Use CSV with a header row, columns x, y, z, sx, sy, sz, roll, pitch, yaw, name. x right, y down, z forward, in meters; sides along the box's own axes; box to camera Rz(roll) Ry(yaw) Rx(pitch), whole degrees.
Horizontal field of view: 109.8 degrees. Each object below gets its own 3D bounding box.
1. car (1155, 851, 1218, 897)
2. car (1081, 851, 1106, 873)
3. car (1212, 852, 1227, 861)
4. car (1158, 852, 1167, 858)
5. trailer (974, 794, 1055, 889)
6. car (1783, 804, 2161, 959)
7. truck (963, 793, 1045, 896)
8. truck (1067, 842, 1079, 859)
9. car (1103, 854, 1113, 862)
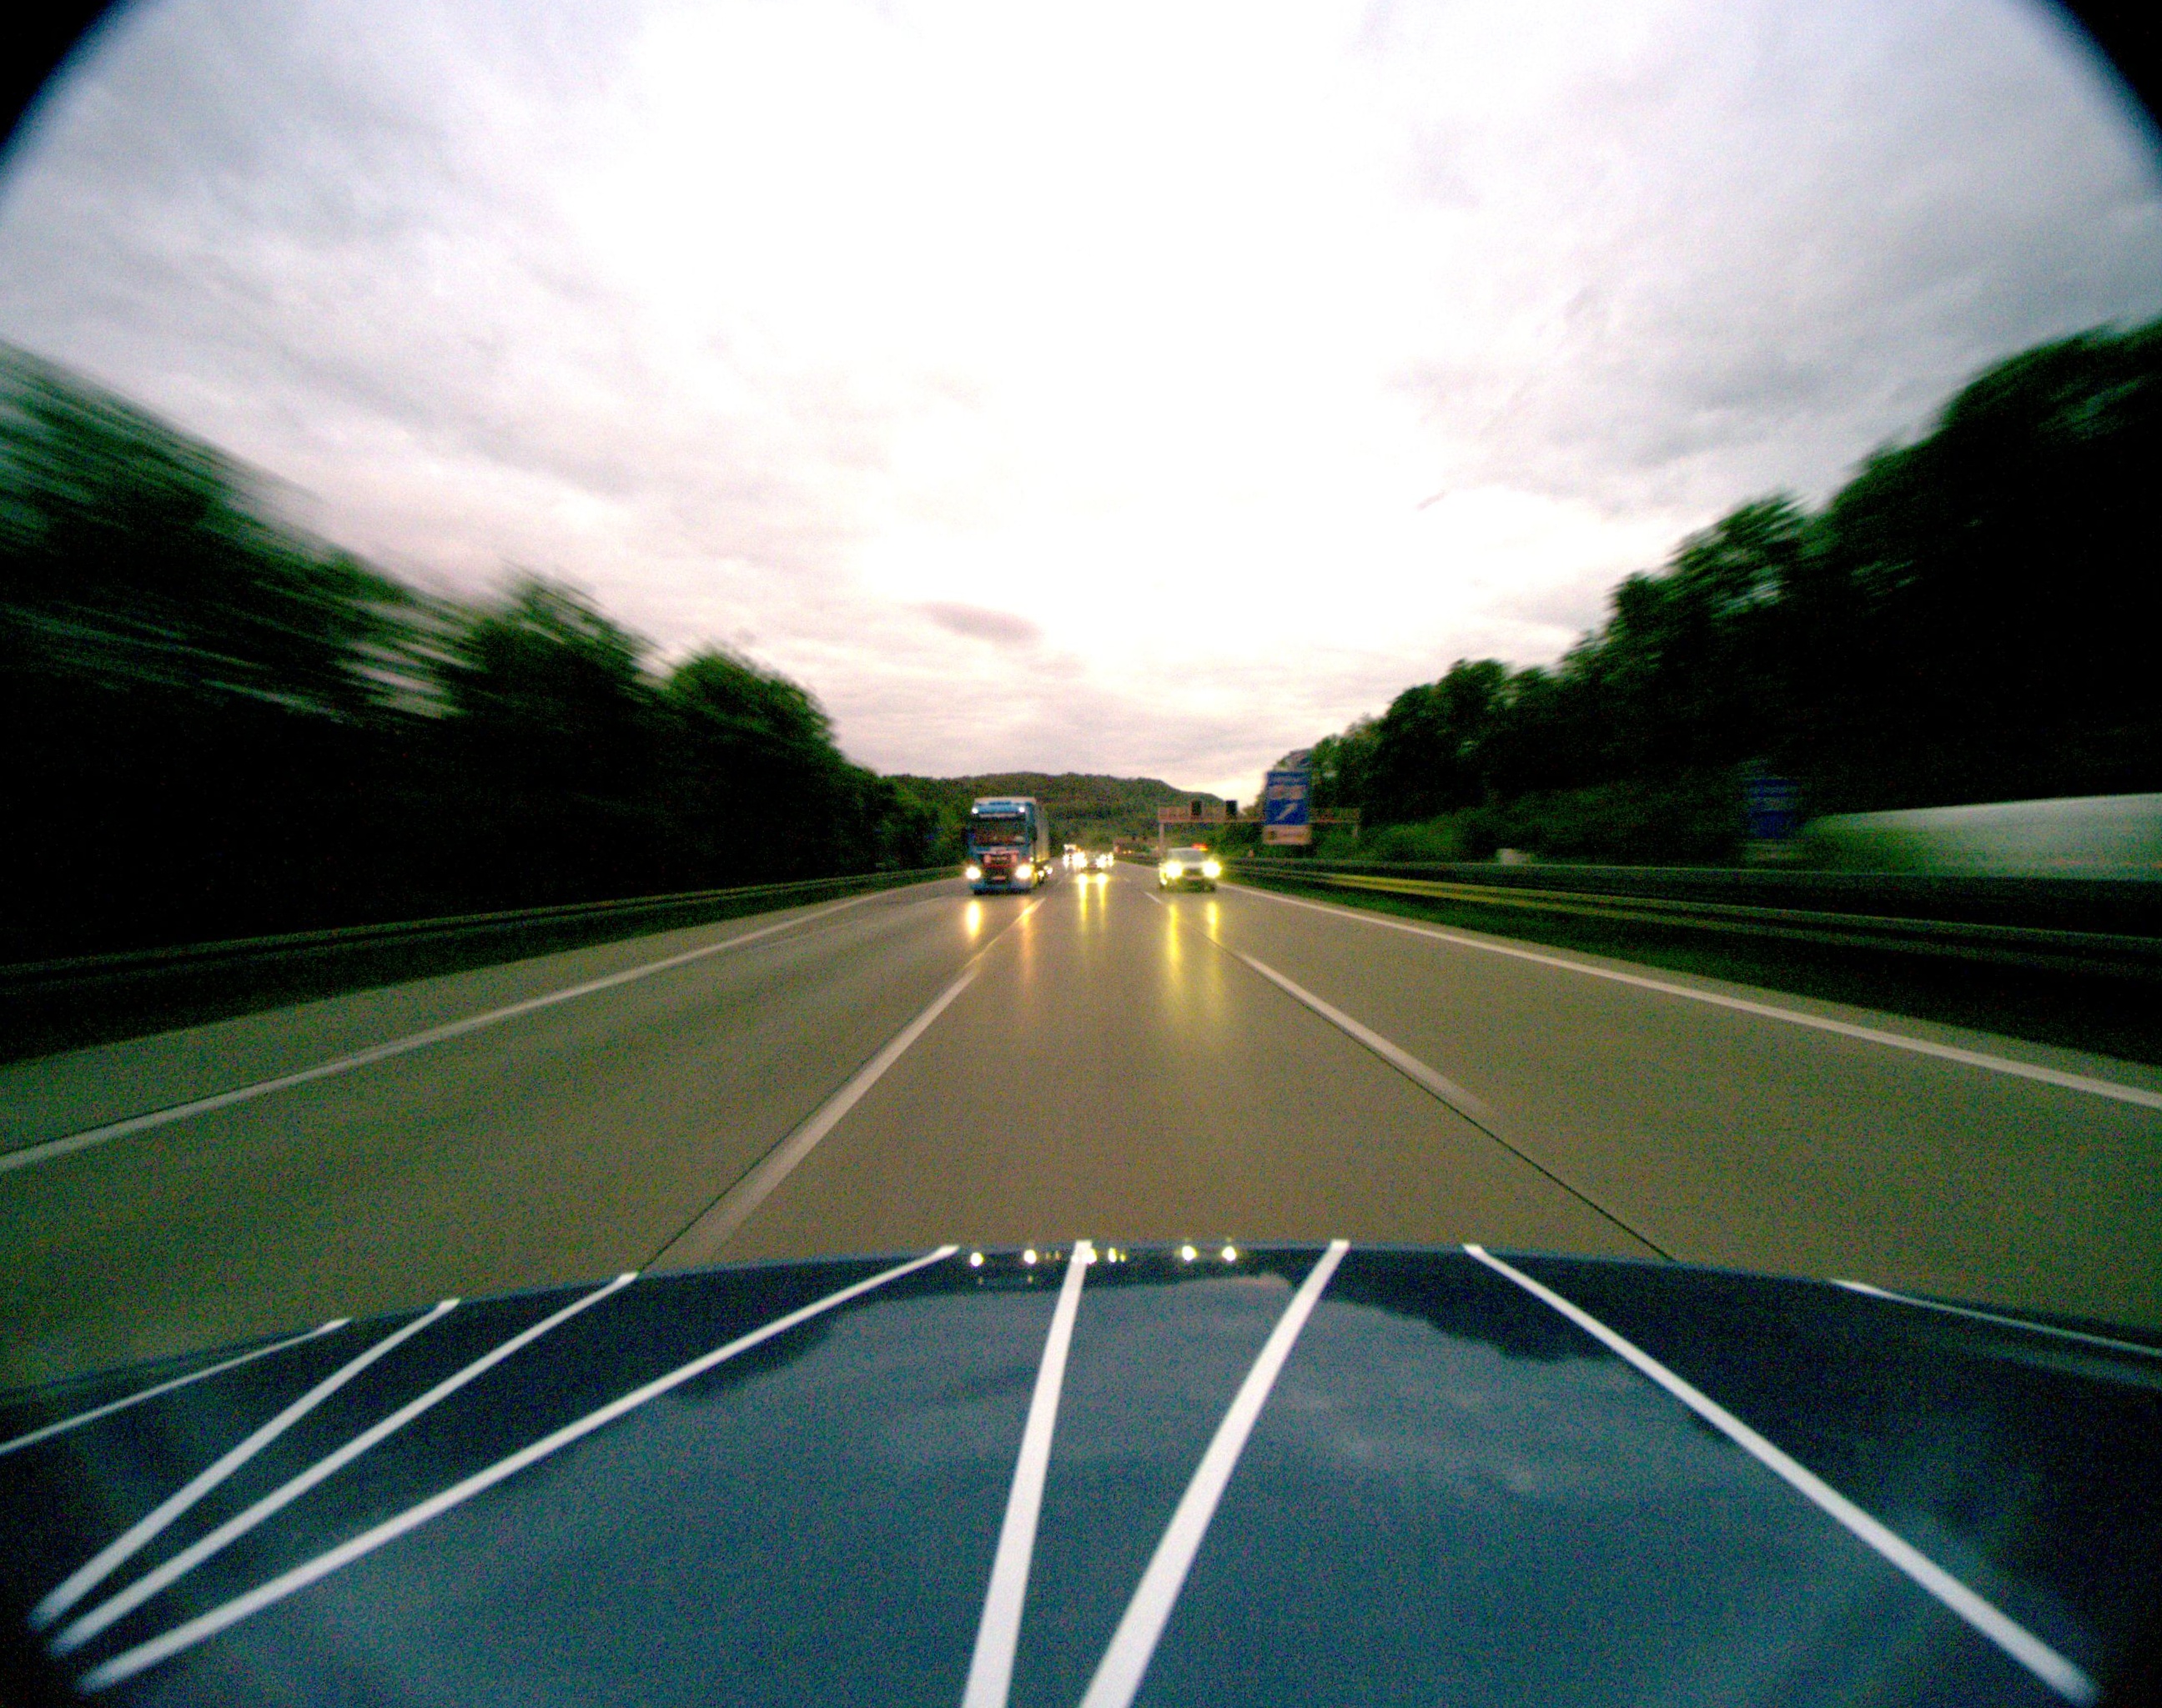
x,y,z,sx,sy,sz,roll,pitch,yaw,name
4.131,0.712,30.715,1.894,1.650,5.640,-1,0,2,car
0.987,0.578,59.697,1.927,1.674,4.806,0,0,1,car
23.088,0.334,126.513,1.766,1.473,4.390,-1,0,0,car
24.271,0.374,226.297,1.853,1.724,5.660,-1,0,0,car
-3.093,-0.558,39.755,2.778,4.062,13.739,-1,0,1,trailer
17.418,0.388,14.367,2.143,2.345,6.719,-1,0,0,car
-3.140,-0.394,32.610,2.743,3.973,5.849,-1,0,1,truck
-1.871,-0.875,181.511,2.623,3.805,10.386,0,0,1,truck
5.549,0.820,155.599,1.898,1.503,3.999,-1,0,-1,car
